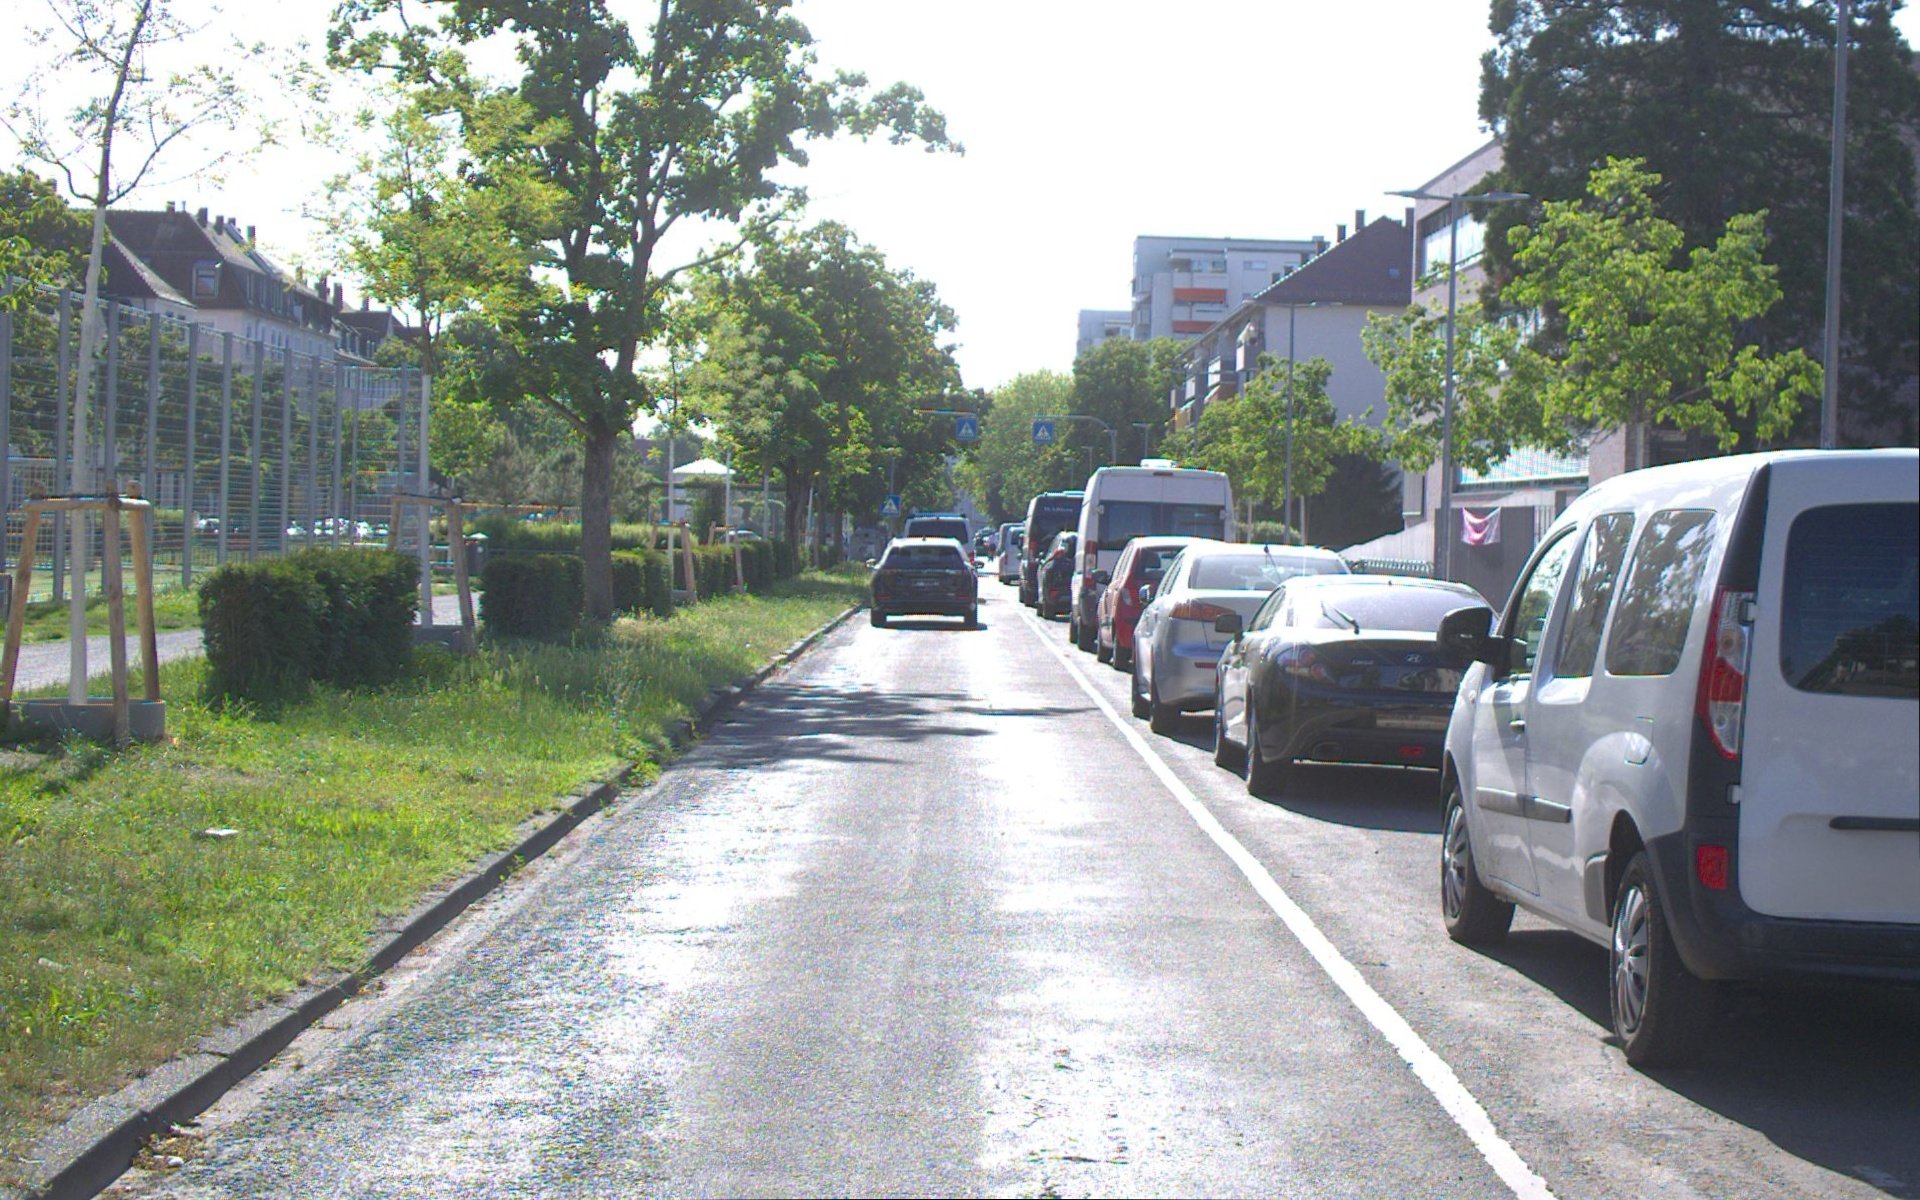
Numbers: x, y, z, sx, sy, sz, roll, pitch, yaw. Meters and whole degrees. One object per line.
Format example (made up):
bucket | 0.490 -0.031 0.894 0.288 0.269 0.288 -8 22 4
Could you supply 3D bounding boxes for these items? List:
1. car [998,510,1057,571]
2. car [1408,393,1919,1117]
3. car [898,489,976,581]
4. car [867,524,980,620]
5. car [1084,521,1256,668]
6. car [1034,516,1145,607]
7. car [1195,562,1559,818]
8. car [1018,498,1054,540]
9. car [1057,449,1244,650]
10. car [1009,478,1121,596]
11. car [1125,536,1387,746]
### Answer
car | 2.203 -1.948 111.341 1.794 1.848 4.413 2 2 2
car | 2.778 0.377 11.385 1.808 1.902 4.462 2 2 -2
car | -0.536 -1.587 83.414 1.794 2.115 4.000 2 1 0
car | -0.590 -0.498 58.219 1.794 1.505 4.000 2 1 0
car | 2.426 -0.102 40.499 1.619 1.583 3.592 2 2 -2
car | 2.447 -0.761 65.790 1.846 1.634 4.504 2 1 -1
car | 2.507 0.489 21.572 1.701 1.320 4.130 2 1 0
car | 4.647 -4.927 209.814 1.993 2.422 4.500 4 1 0
car | 2.590 -0.736 48.151 2.241 2.565 5.433 2 1 0
car | 2.318 -1.454 77.904 2.115 2.507 6.533 2 1 -1
car | 2.313 0.269 27.769 1.701 1.473 4.174 2 1 0
